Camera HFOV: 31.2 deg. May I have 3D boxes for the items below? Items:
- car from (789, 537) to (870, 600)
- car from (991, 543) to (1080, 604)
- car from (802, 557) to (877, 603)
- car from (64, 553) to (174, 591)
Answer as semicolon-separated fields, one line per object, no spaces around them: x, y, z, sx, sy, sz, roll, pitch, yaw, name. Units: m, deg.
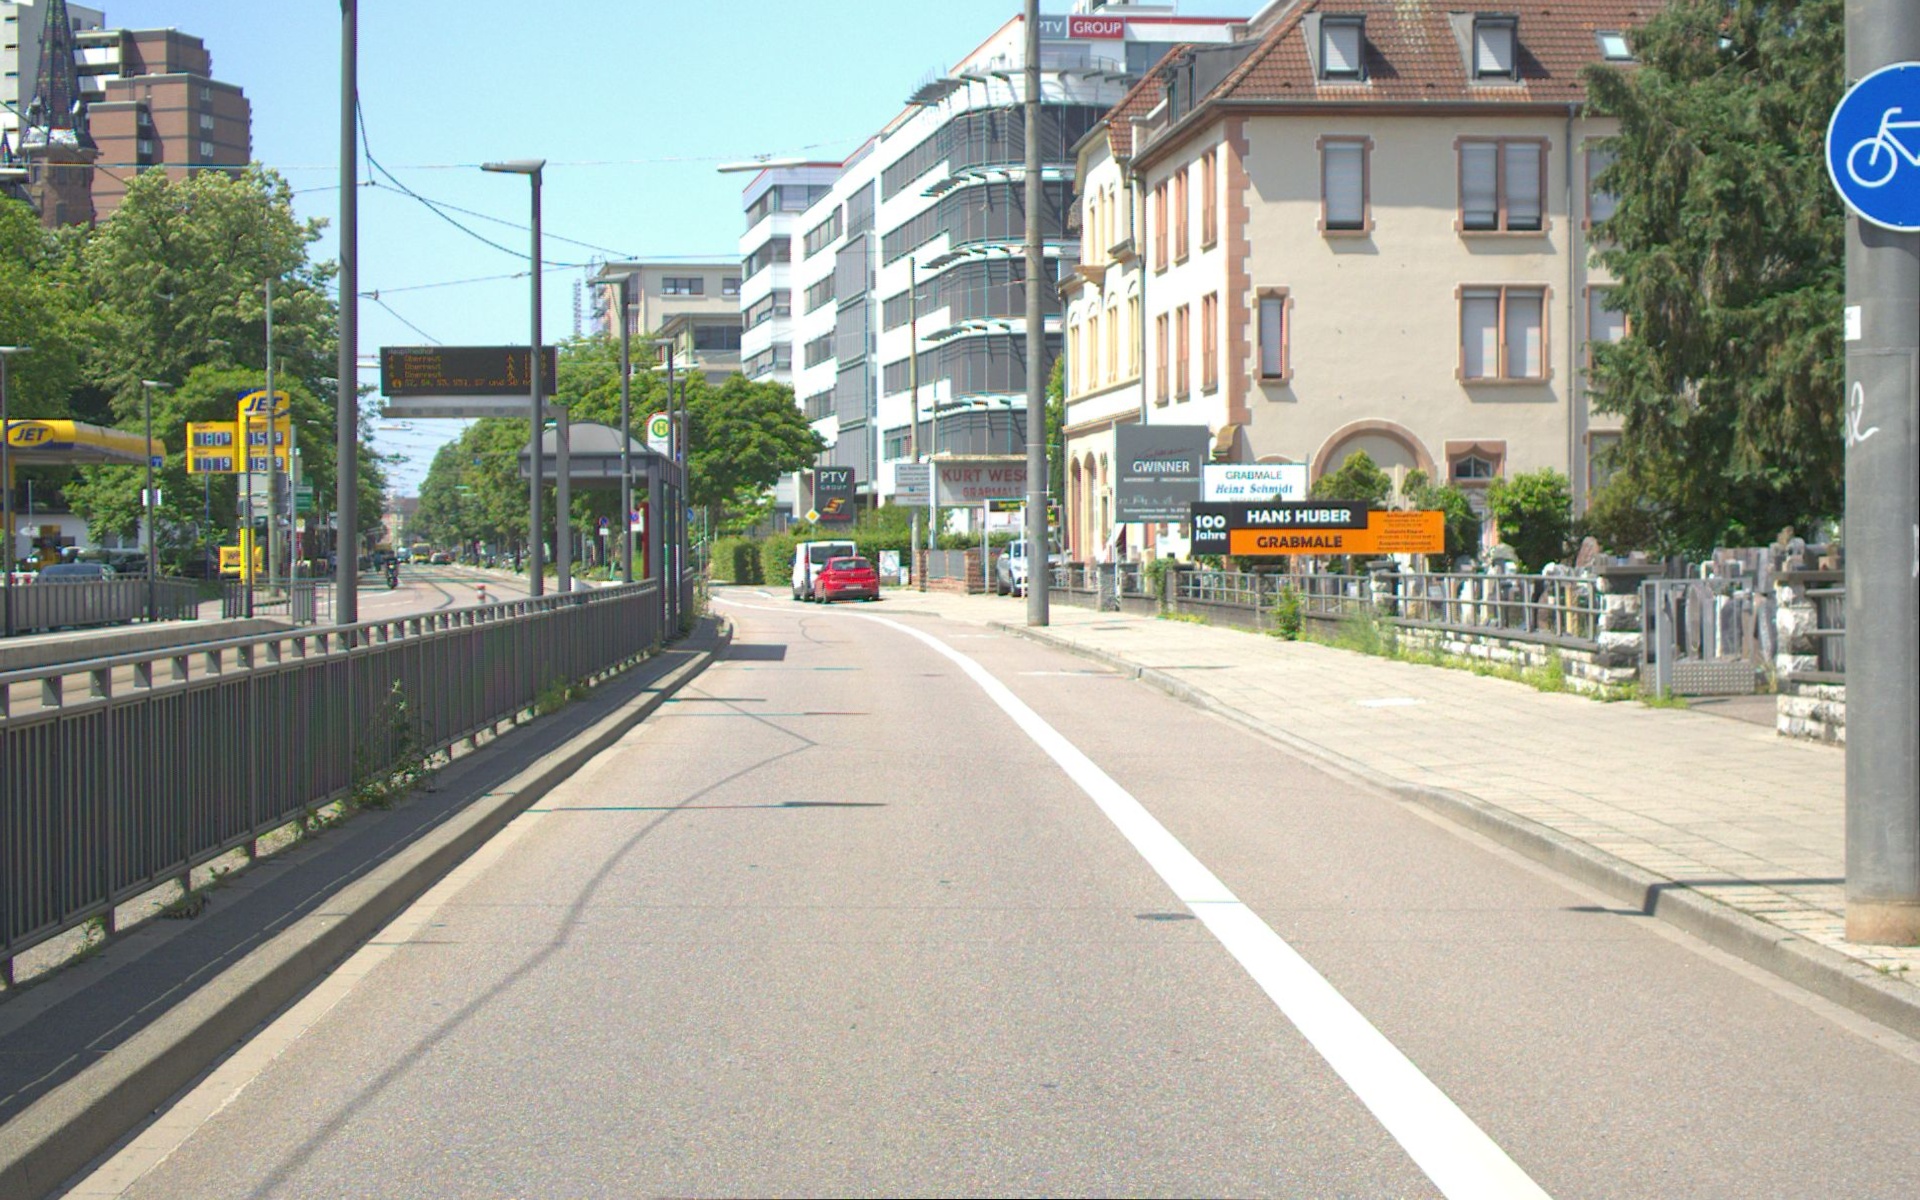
-4.380;-1.065;114.702;1.993;1.985;5.516;-2;1;-9;car
2.143;-0.772;98.903;1.877;1.619;4.640;-3;1;-6;car
-3.804;-0.640;108.323;1.993;1.437;4.018;0;1;-7;car
-35.728;-1.195;146.126;1.997;1.584;4.325;0;1;35;car
